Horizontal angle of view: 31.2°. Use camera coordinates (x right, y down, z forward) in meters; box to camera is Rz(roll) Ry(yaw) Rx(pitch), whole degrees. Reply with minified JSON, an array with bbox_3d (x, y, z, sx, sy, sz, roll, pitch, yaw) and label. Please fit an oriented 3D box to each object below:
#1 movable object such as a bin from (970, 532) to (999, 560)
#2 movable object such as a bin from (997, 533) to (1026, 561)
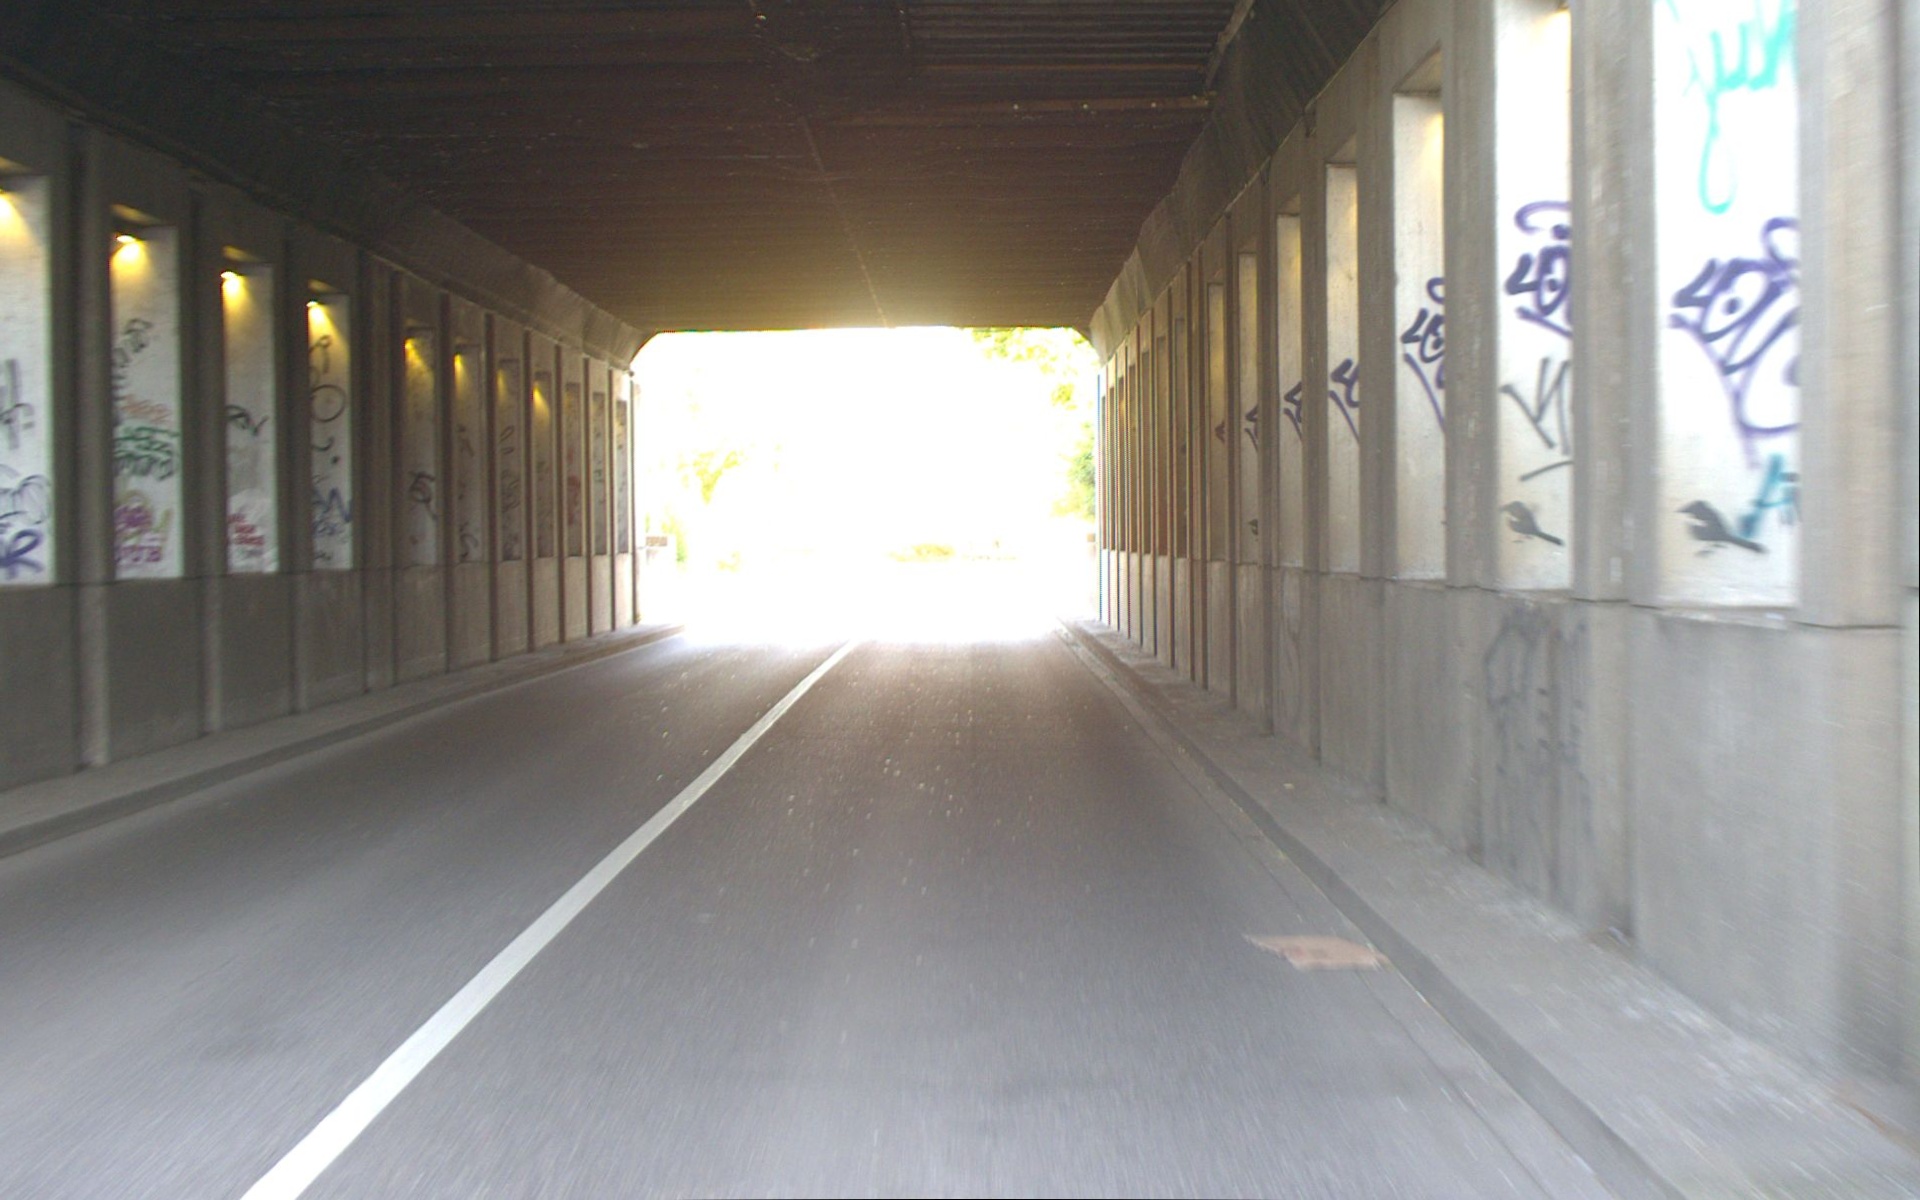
[{"bbox_3d":[1.257,-2.805,178.476,1.364,1.413,1.066,1,0,-7],"label":"movable object such as a bin"},{"bbox_3d":[2.690,-2.771,178.676,1.364,1.413,1.066,1,0,-7],"label":"movable object such as a bin"}]
